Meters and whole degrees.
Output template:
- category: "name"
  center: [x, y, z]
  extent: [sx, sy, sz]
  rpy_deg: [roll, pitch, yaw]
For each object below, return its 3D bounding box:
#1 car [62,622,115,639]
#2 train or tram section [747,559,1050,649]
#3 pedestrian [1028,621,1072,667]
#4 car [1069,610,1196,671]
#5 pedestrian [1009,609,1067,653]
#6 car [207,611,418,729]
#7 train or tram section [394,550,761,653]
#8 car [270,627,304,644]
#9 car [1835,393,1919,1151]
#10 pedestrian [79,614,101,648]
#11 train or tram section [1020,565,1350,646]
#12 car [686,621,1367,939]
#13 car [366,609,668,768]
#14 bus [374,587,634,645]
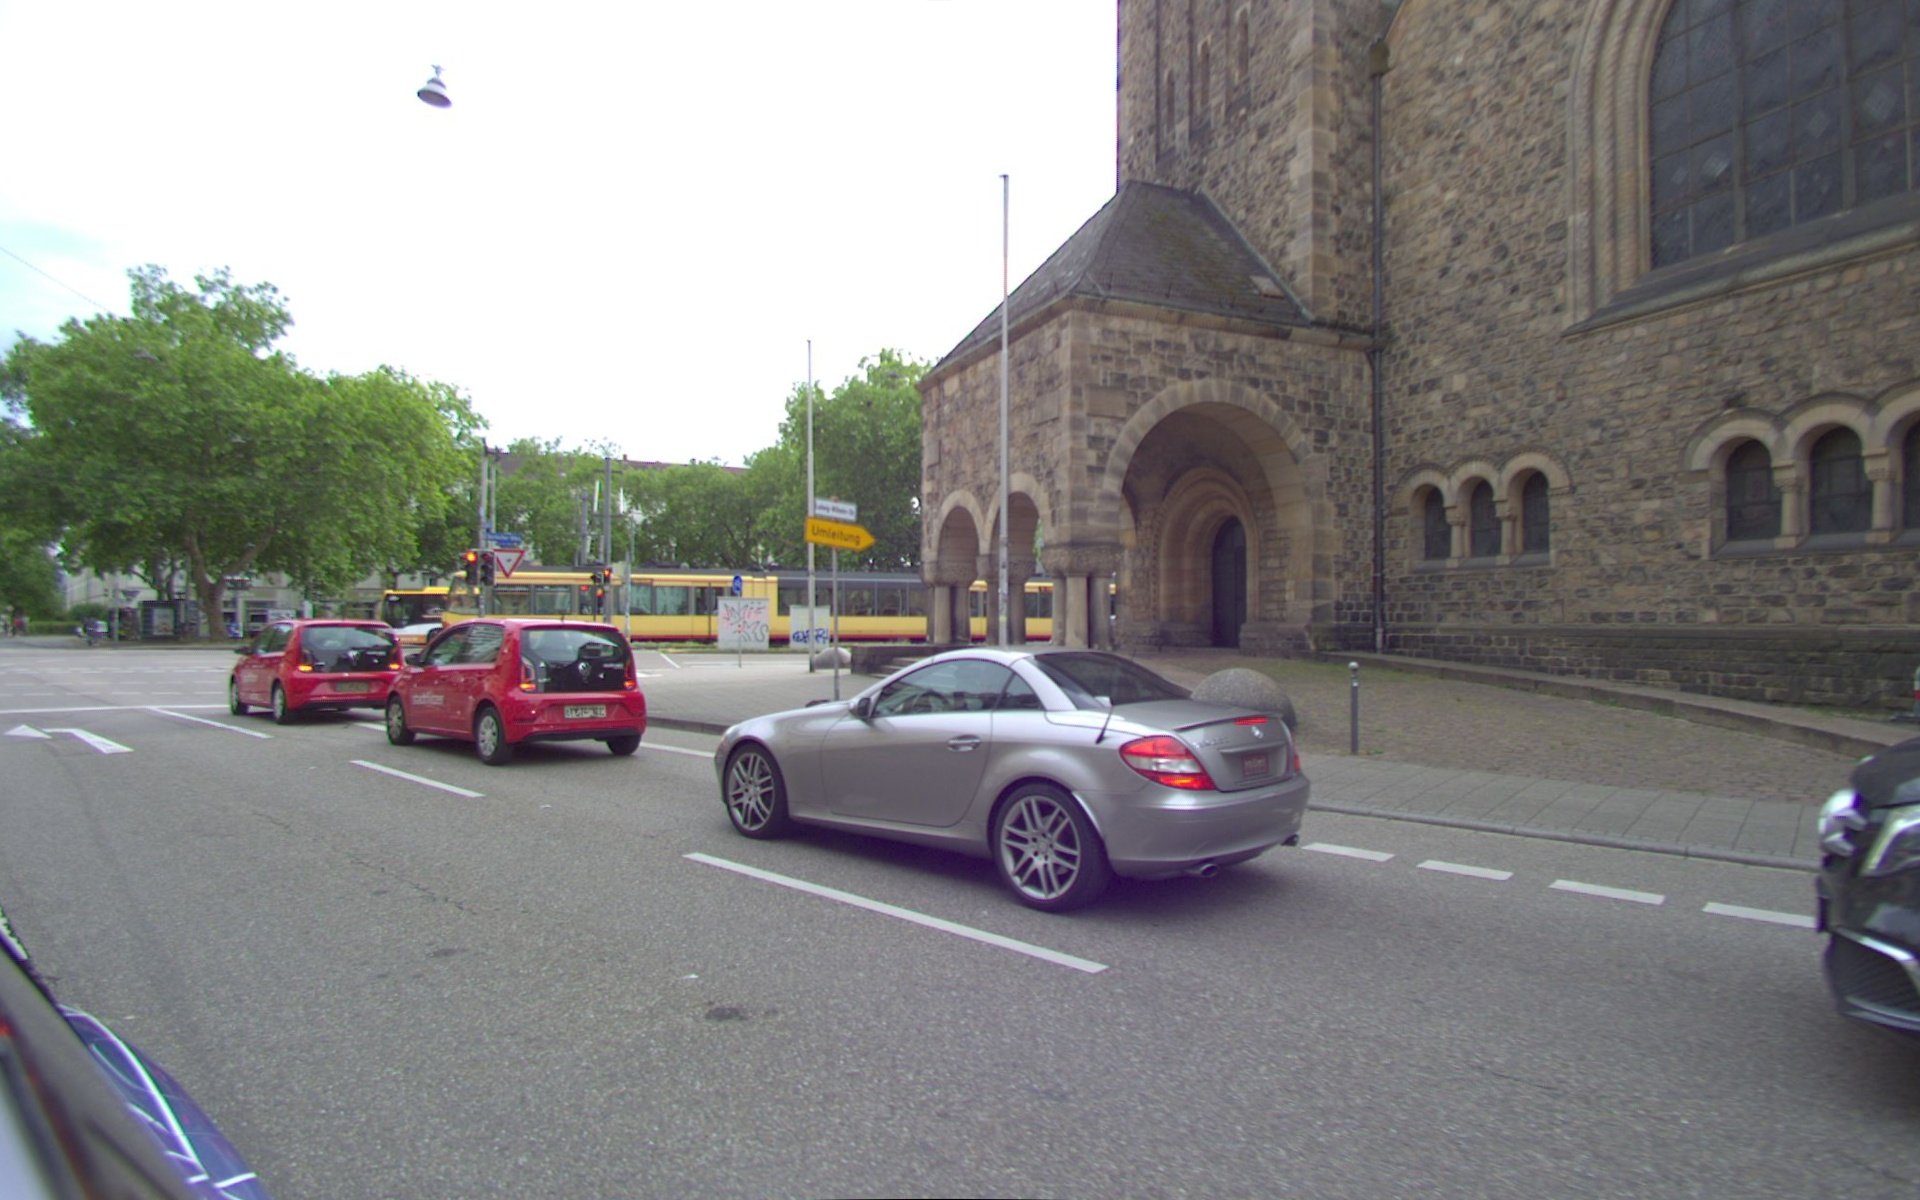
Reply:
- category: "car"
  center: [-78.977, 2.745, 91.681]
  extent: [3.965, 1.497, 1.792]
  rpy_deg: [0, -1, 17]
- category: "train or tram section"
  center: [-2.918, 0.242, 50.845]
  extent: [14.777, 4.124, 3.593]
  rpy_deg: [1, 0, -22]
- category: "pedestrian"
  center: [2.461, 1.201, 27.878]
  extent: [1.045, 1.238, 0.740]
  rpy_deg: [1, 0, -9]
- category: "car"
  center: [5.102, 1.152, 30.545]
  extent: [1.634, 1.648, 4.377]
  rpy_deg: [1, 0, -24]
- category: "pedestrian"
  center: [2.207, 0.863, 28.671]
  extent: [1.467, 1.200, 0.741]
  rpy_deg: [1, 0, -23]
- category: "car"
  center: [-9.706, 1.005, 15.064]
  extent: [3.893, 1.540, 1.631]
  rpy_deg: [-2, -4, 42]
- category: "train or tram section"
  center: [-16.669, 0.129, 45.301]
  extent: [14.777, 4.124, 3.667]
  rpy_deg: [1, 0, -22]
- category: "car"
  center: [-58.716, 3.065, 88.281]
  extent: [1.968, 1.400, 4.840]
  rpy_deg: [1, -2, -40]
- category: "car"
  center: [4.966, 0.404, 1.654]
  extent: [5.283, 1.969, 1.891]
  rpy_deg: [-2, -2, 42]
- category: "pedestrian"
  center: [-49.647, 1.763, 57.763]
  extent: [0.680, 1.900, 0.687]
  rpy_deg: [0, 0, 7]
- category: "train or tram section"
  center: [13.076, 0.384, 57.365]
  extent: [19.601, 4.124, 3.640]
  rpy_deg: [1, 0, -22]
- category: "car"
  center: [0.164, 0.825, 6.263]
  extent: [4.042, 1.296, 1.686]
  rpy_deg: [-1, -3, 43]
- category: "car"
  center: [-4.995, 0.869, 11.216]
  extent: [3.716, 1.468, 1.585]
  rpy_deg: [0, -3, 41]
- category: "bus"
  center: [-23.760, 0.838, 53.546]
  extent: [12.164, 2.878, 3.303]
  rpy_deg: [1, 0, -23]
